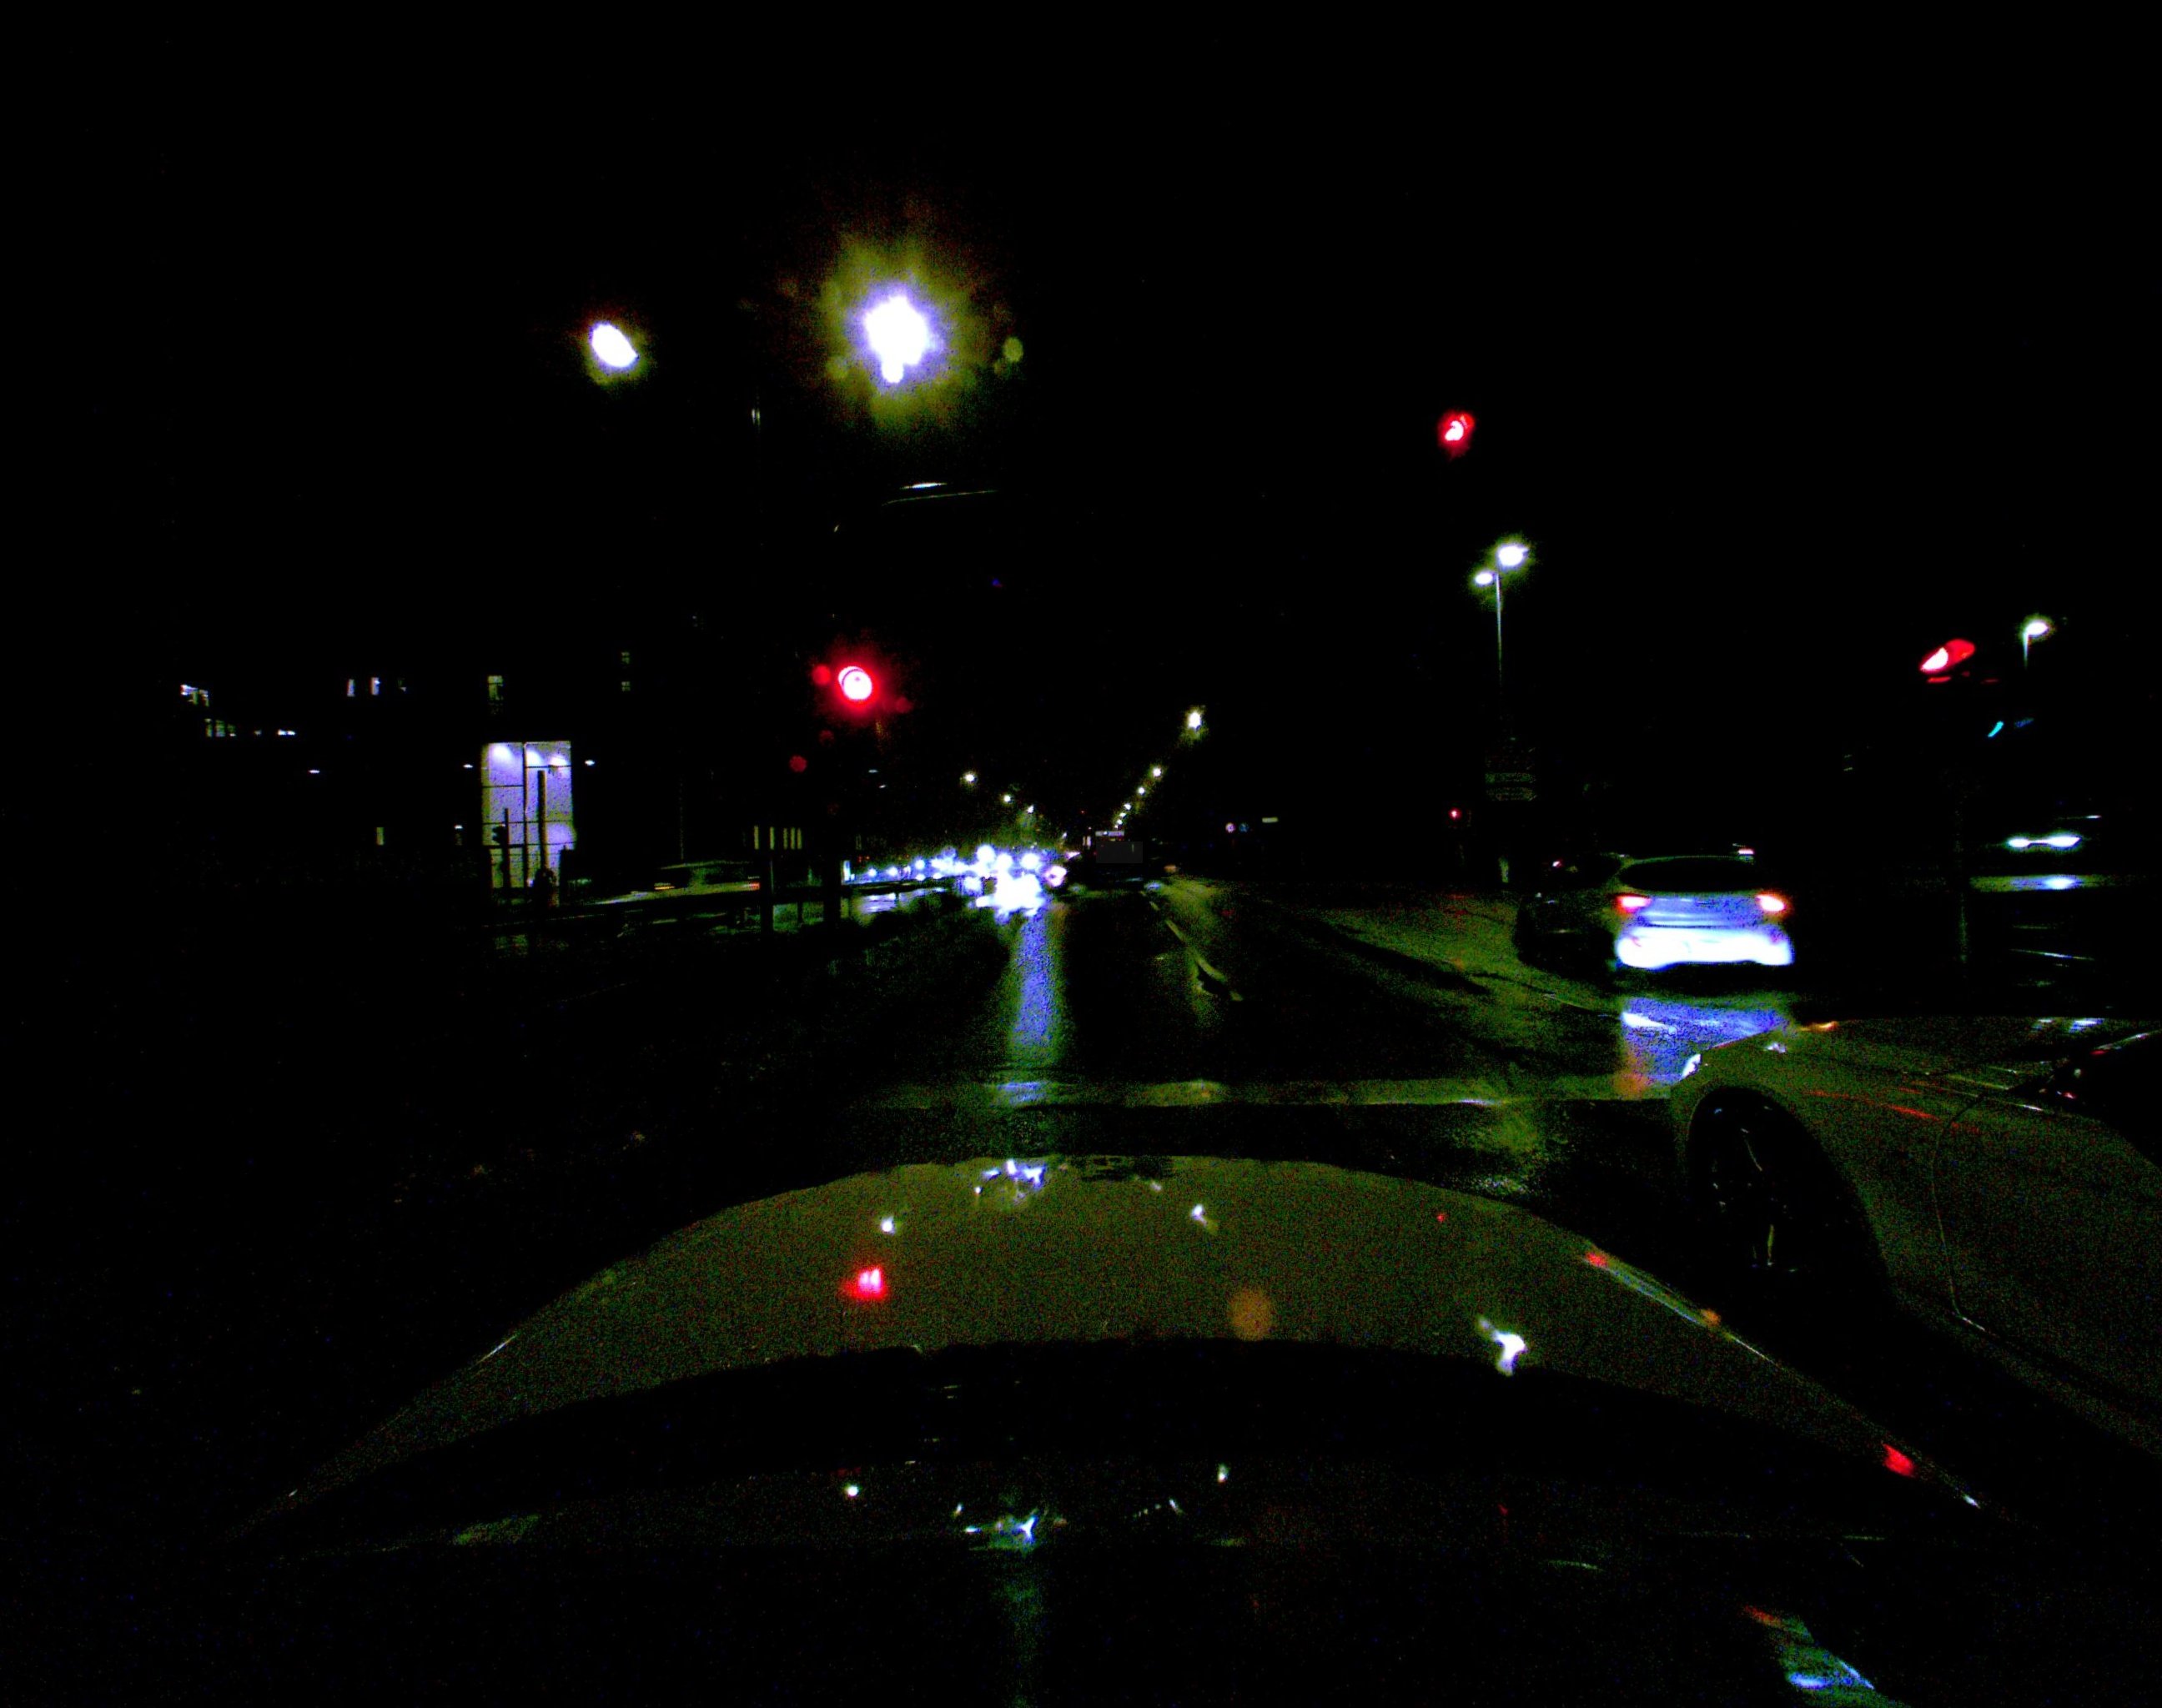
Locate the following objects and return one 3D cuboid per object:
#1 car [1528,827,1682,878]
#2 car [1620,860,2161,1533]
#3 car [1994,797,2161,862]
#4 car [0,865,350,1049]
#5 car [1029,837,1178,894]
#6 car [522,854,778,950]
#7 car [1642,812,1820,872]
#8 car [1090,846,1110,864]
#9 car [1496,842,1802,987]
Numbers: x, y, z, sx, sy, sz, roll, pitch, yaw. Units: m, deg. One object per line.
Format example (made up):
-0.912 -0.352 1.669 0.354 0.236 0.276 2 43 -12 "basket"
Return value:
18.107 -0.031 28.322 4.046 1.588 1.916 -2 -2 7 "car"
3.112 0.718 1.316 1.710 1.404 4.351 0 0 2 "car"
34.191 -0.824 27.086 5.068 1.984 2.003 -2 0 5 "car"
-11.118 1.001 8.475 1.950 1.741 4.938 -1 -1 15 "car"
0.740 0.358 26.542 4.508 1.749 1.846 0 -1 -21 "car"
-8.863 0.889 17.178 1.885 1.741 4.425 -1 -1 31 "car"
24.492 -0.415 30.878 4.886 2.145 2.146 0 -1 7 "car"
2.152 0.179 93.553 1.988 2.014 4.629 0 -1 -1 "car"
6.653 0.623 10.051 1.624 1.459 3.601 0 -1 7 "car"
